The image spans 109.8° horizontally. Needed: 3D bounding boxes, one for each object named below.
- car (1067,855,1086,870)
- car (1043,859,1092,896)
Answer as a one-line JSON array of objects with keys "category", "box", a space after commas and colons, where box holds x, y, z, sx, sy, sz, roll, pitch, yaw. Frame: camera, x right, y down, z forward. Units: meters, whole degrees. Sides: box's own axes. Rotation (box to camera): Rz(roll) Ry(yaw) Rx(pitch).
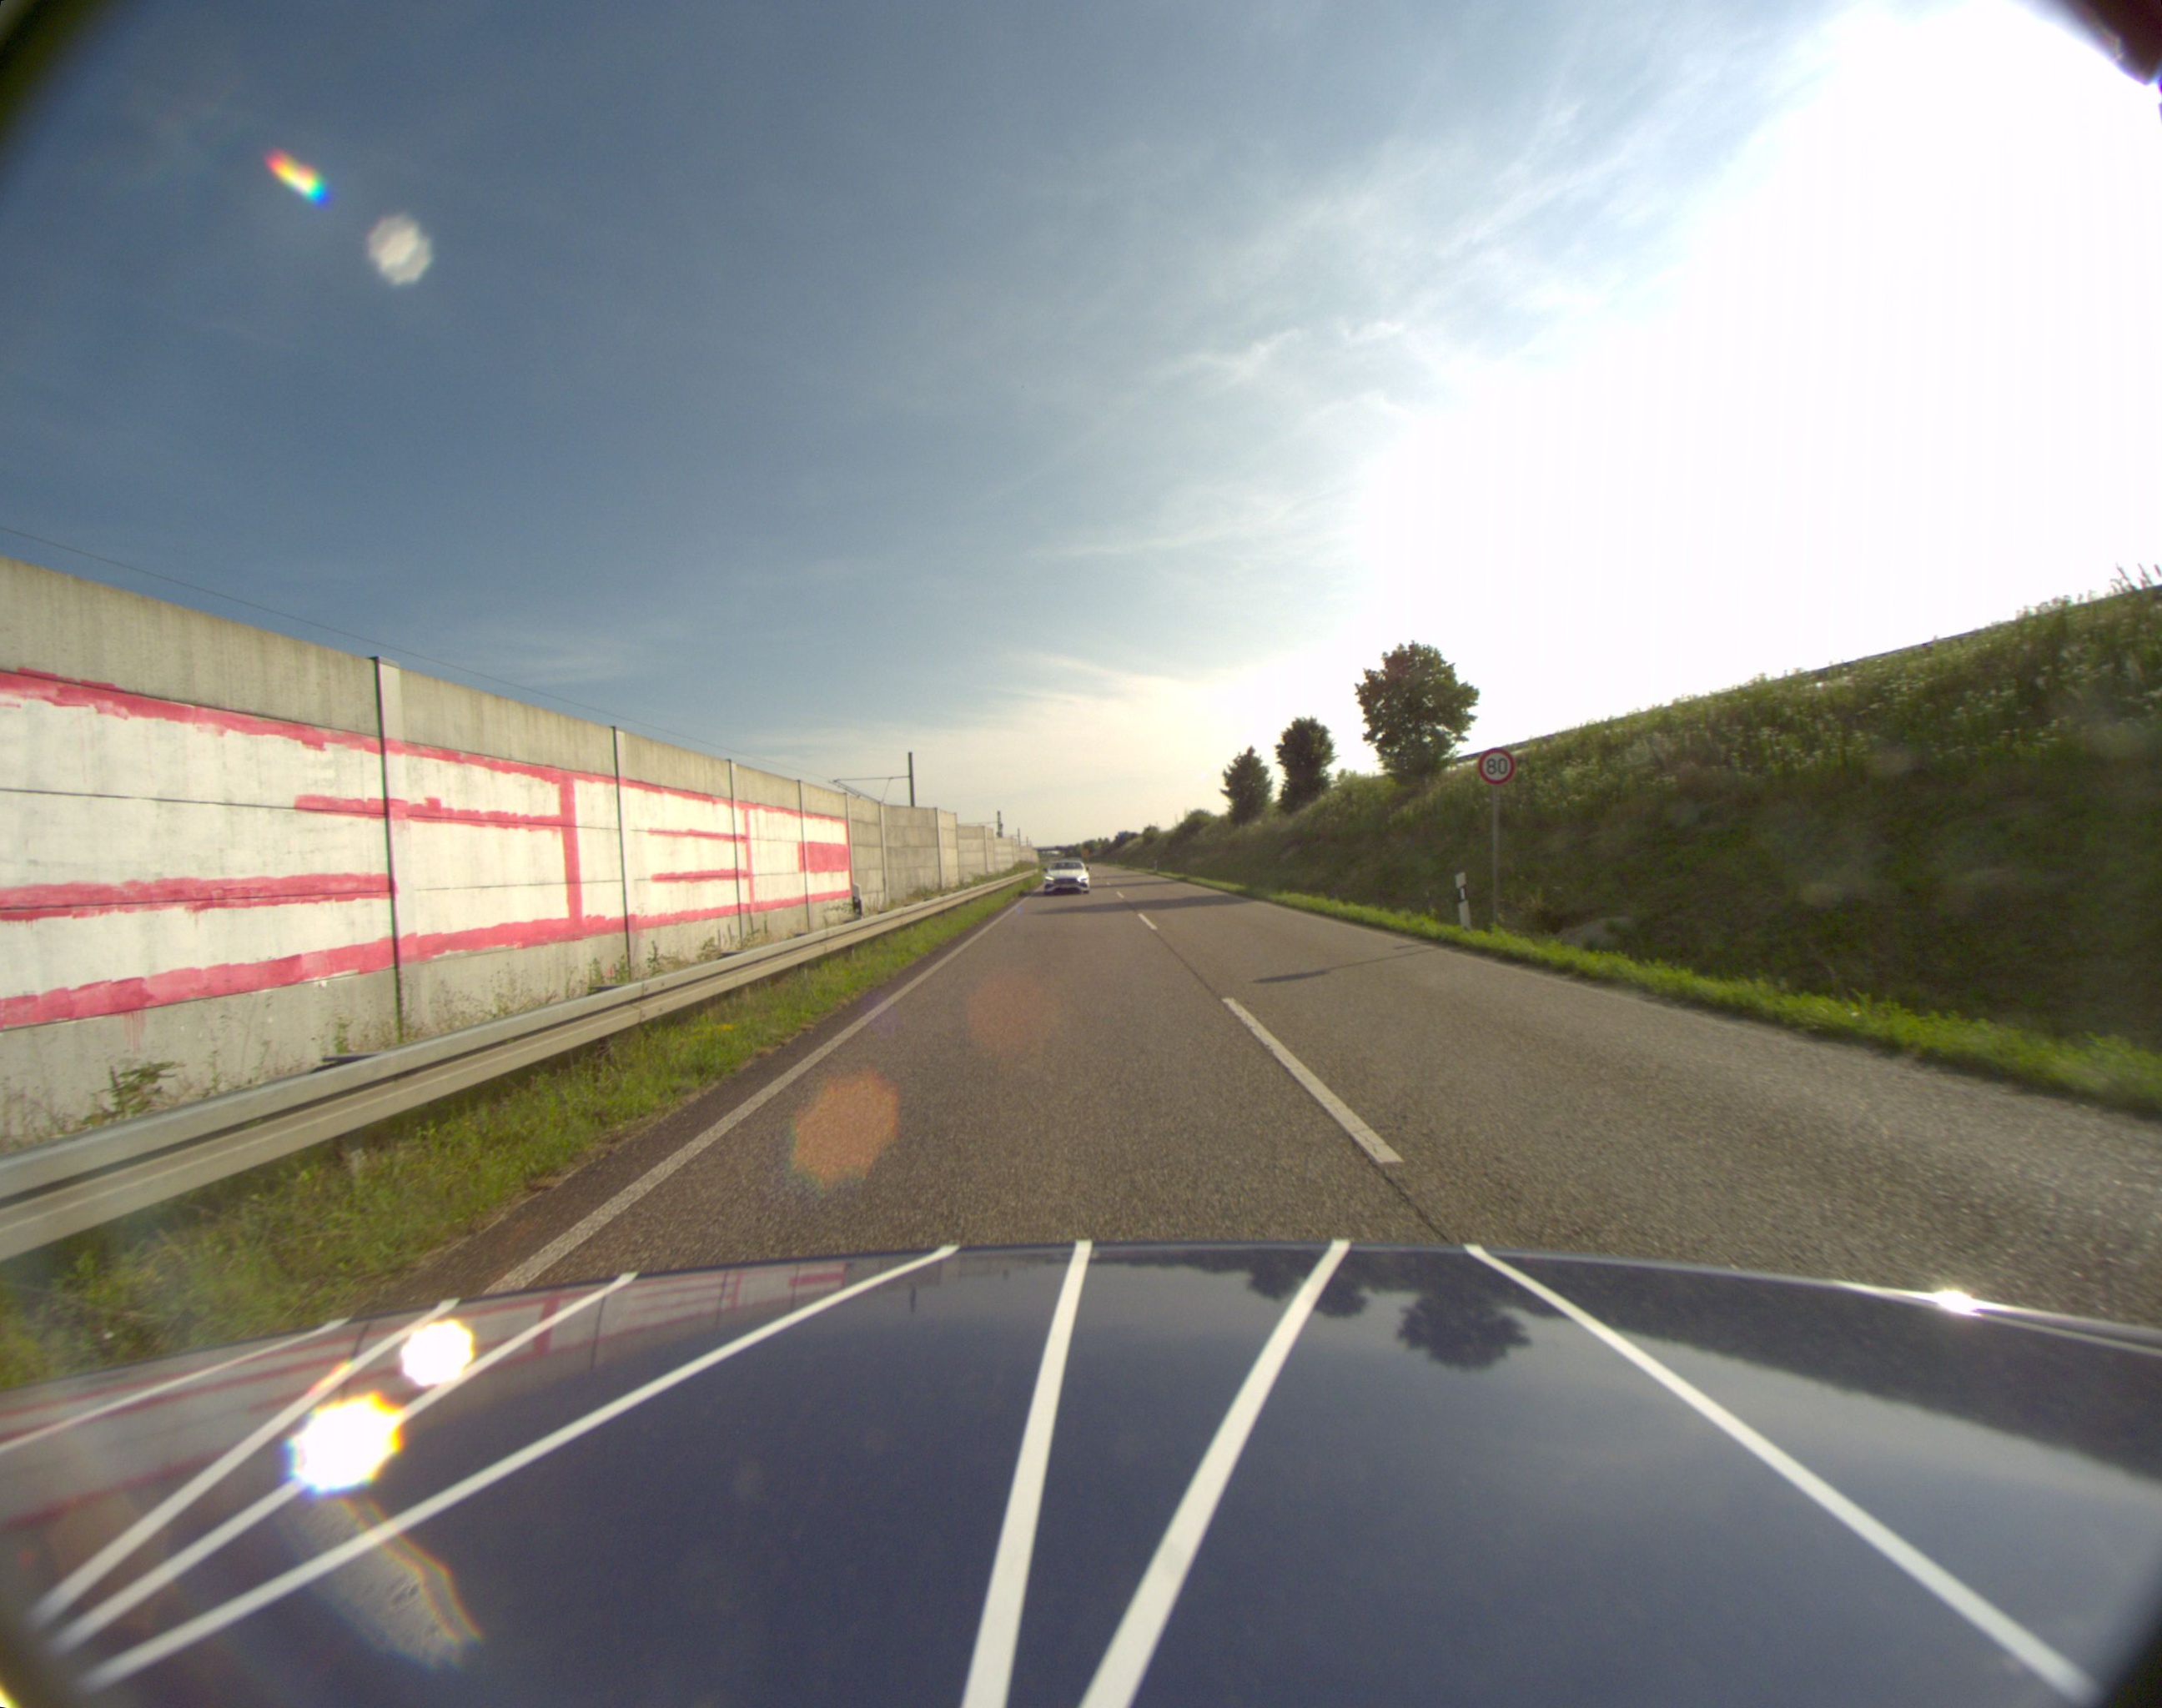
[{"category": "car", "box": [-0.449, 0.850, 80.203, 1.930, 1.399, 4.973, -1, 1, 0]}, {"category": "car", "box": [-0.607, 0.966, 32.977, 1.930, 1.398, 4.974, -2, 0, -1]}]
